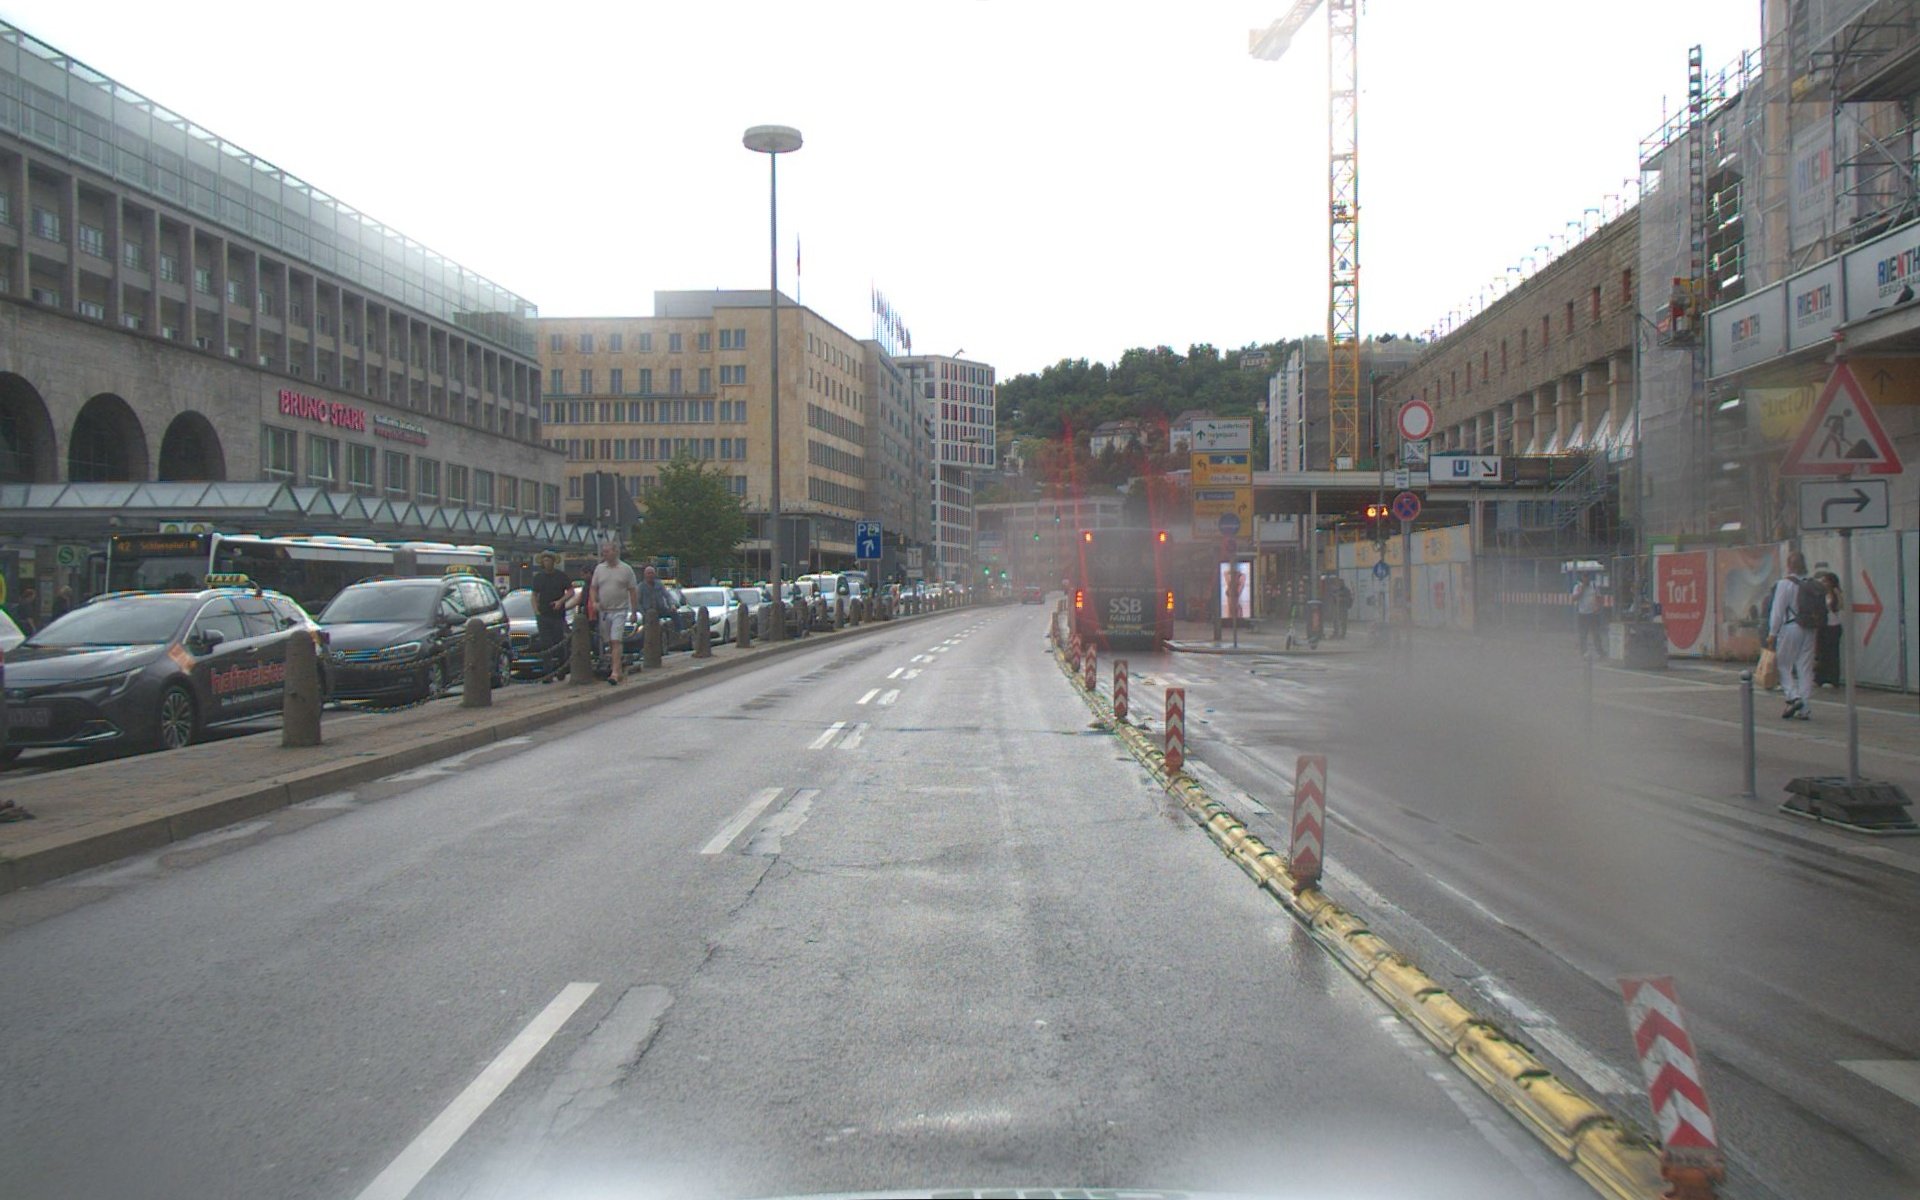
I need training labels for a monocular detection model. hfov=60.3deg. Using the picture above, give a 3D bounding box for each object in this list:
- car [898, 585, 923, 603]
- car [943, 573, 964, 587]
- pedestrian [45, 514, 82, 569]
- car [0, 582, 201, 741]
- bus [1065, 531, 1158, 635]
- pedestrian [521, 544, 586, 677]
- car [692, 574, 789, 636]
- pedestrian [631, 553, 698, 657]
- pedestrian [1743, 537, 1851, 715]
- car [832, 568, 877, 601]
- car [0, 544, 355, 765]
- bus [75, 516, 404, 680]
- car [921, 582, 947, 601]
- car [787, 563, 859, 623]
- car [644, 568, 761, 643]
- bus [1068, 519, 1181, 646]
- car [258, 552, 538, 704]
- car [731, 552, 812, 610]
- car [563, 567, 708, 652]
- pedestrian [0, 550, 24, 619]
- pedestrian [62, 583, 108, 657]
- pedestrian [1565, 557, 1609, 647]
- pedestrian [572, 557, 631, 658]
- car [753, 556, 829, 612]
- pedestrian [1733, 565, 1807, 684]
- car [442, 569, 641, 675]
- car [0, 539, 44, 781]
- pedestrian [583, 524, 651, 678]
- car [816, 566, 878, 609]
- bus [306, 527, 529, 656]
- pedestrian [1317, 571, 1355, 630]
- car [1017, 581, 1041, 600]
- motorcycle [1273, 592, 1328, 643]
[{"bbox_3d":[-4.736,-0.585,157.676,1.921,1.591,4.838,-3,1,3],"label":"car"},{"bbox_3d":[-0.728,-2.356,197.991,1.951,1.645,4.981,-1,0,6],"label":"car"},{"bbox_3d":[-26.105,-1.696,48.183,0.617,1.594,0.757,1,1,4],"label":"pedestrian"},{"bbox_3d":[-11.282,0.685,19.968,1.889,1.720,4.683,-2,0,2],"label":"car"},{"bbox_3d":[4.888,-0.536,54.863,2.697,3.119,8.997,1,0,3],"label":"bus"},{"bbox_3d":[-5.572,0.139,22.711,0.684,1.785,0.712,0,1,2],"label":"pedestrian"},{"bbox_3d":[-6.189,0.113,47.152,1.890,1.604,5.053,-2,0,2],"label":"car"},{"bbox_3d":[-5.191,0.089,29.076,1.028,1.799,0.617,0,0,2],"label":"pedestrian"},{"bbox_3d":[9.177,0.272,18.159,0.708,1.879,0.810,-3,0,2],"label":"pedestrian"},{"bbox_3d":[-5.223,-0.765,82.361,1.952,1.579,4.000,-1,0,0],"label":"car"},{"bbox_3d":[-7.548,0.433,15.441,1.889,1.720,4.683,-2,0,2],"label":"car"},{"bbox_3d":[-16.888,-0.106,39.958,2.817,3.435,10.579,0,1,3],"label":"bus"},{"bbox_3d":[-2.318,-0.814,149.869,1.921,1.591,4.838,-3,1,3],"label":"car"},{"bbox_3d":[-5.263,-0.287,64.119,1.952,2.216,5.547,-1,1,4],"label":"car"},{"bbox_3d":[-6.349,0.116,41.363,1.935,1.688,5.194,-2,0,2],"label":"car"},{"bbox_3d":[4.397,-0.461,45.814,2.697,3.122,9.084,1,0,3],"label":"bus"},{"bbox_3d":[-7.183,0.319,21.711,1.889,1.720,4.683,-2,0,2],"label":"car"},{"bbox_3d":[-6.032,-0.609,53.440,1.890,1.728,4.886,-2,0,2],"label":"car"},{"bbox_3d":[-6.756,0.178,35.021,1.890,1.604,5.013,-2,0,2],"label":"car"},{"bbox_3d":[-21.322,-0.342,37.038,0.576,1.533,0.620,1,1,-27],"label":"pedestrian"},{"bbox_3d":[-19.661,0.435,37.176,0.645,1.641,0.739,0,0,-2],"label":"pedestrian"},{"bbox_3d":[13.444,0.045,35.469,0.631,1.879,0.659,-3,0,2],"label":"pedestrian"},{"bbox_3d":[-5.980,0.114,27.610,0.708,1.634,0.996,1,1,2],"label":"pedestrian"},{"bbox_3d":[-5.941,-0.568,58.476,1.889,1.837,4.584,-2,0,4],"label":"car"},{"bbox_3d":[11.091,0.328,22.670,0.637,1.566,0.665,-3,0,3],"label":"pedestrian"},{"bbox_3d":[-7.079,0.327,28.609,1.889,1.604,5.262,-2,0,2],"label":"car"},{"bbox_3d":[-7.848,0.469,9.953,1.889,1.720,4.683,-2,0,2],"label":"car"},{"bbox_3d":[-4.631,0.006,22.386,0.708,2.042,0.773,1,1,2],"label":"pedestrian"},{"bbox_3d":[-4.728,-0.537,69.843,1.951,1.752,4.785,-1,1,4],"label":"car"},{"bbox_3d":[-16.235,-0.313,50.581,2.817,3.520,10.579,0,1,3],"label":"bus"},{"bbox_3d":[10.885,0.008,47.867,0.889,1.663,0.826,0,0,30],"label":"pedestrian"},{"bbox_3d":[5.893,-0.808,140.712,1.951,1.579,4.002,-1,0,4],"label":"car"},{"bbox_3d":[8.256,0.421,40.099,0.576,1.186,1.608,1,0,41],"label":"motorcycle"}]
